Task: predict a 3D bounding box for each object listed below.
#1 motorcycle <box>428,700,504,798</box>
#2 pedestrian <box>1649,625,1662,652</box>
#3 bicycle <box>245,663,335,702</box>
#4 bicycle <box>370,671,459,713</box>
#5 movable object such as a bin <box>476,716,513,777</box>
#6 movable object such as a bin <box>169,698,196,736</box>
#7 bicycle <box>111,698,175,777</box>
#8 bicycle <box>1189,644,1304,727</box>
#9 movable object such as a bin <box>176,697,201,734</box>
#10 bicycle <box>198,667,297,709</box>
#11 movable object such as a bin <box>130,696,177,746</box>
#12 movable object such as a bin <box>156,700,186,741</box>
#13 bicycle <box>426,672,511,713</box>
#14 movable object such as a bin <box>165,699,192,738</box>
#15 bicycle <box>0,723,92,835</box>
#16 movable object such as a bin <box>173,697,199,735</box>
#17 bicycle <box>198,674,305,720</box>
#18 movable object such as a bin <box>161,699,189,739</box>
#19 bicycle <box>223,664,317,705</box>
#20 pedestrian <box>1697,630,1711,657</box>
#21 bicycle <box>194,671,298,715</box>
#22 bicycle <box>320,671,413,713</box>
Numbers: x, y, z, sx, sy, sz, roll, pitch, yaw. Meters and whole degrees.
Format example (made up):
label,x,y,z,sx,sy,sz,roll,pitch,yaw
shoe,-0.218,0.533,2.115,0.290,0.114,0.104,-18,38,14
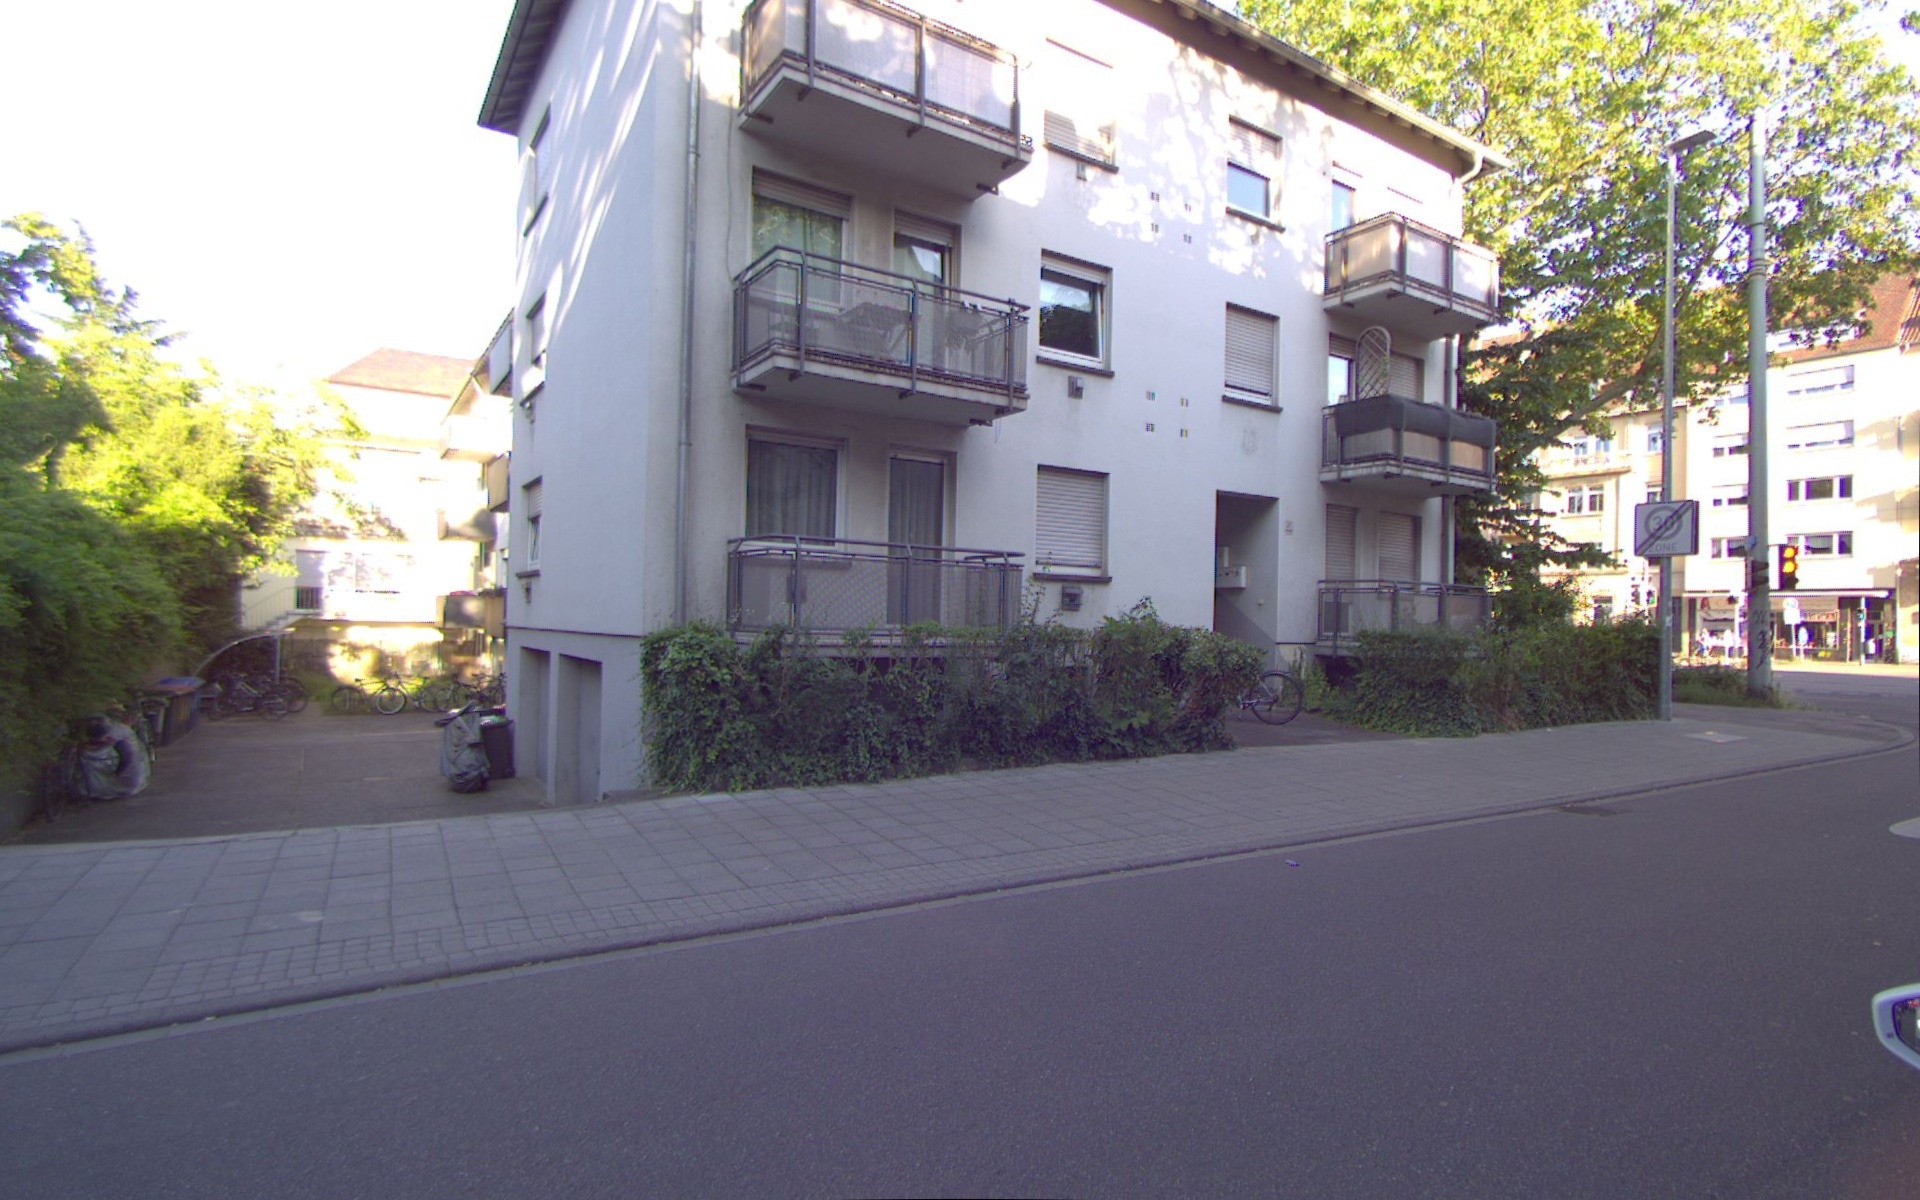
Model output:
label,x,y,z,sx,sy,sz,roll,pitch,yaw
motorcycle,-7.405,2.185,15.020,0.751,1.268,1.577,1,-2,-36
pedestrian,40.502,2.243,58.526,0.558,1.531,0.499,0,-1,41
bicycle,-19.019,2.346,28.566,2.045,1.034,0.564,4,0,-30
bicycle,-14.743,2.501,27.174,2.045,1.034,0.637,4,0,-30
movable object such as a bin,-7.502,2.348,16.184,0.428,0.899,0.720,1,-2,-34
movable object such as a bin,-16.210,2.442,20.946,0.362,0.768,0.361,2,-4,-30
bicycle,-13.223,2.189,16.294,0.509,1.033,1.922,3,-1,-32
bicycle,3.882,1.143,13.615,1.433,0.988,0.407,3,0,21
movable object such as a bin,-16.608,2.486,21.629,0.342,0.768,0.361,2,-4,-30
bicycle,-18.861,2.342,26.656,2.045,1.034,0.611,4,0,-30
movable object such as a bin,-14.951,2.231,18.623,0.570,0.891,0.491,2,-4,-30
movable object such as a bin,-15.631,2.379,19.895,0.393,0.784,0.361,2,-4,-30
bicycle,-13.605,2.576,27.841,2.045,1.034,0.637,4,0,-30
movable object such as a bin,-16.032,2.424,20.611,0.371,0.768,0.361,2,-4,-30
bicycle,-10.996,2.095,12.069,0.509,1.033,1.922,3,-1,-32
movable object such as a bin,-16.404,2.456,21.286,0.362,0.768,0.361,2,-4,-30
bicycle,-17.277,2.380,24.551,2.045,1.034,0.637,4,0,-30
movable object such as a bin,-15.825,2.398,20.255,0.377,0.784,0.361,2,-4,-30
bicycle,-18.996,2.343,27.693,2.045,1.034,0.611,4,0,-30
pedestrian,42.519,2.473,57.412,0.531,1.531,0.505,1,-1,-34
bicycle,-18.029,2.362,25.430,2.045,1.034,0.568,4,0,-30
bicycle,-15.694,2.438,26.614,2.045,1.034,0.637,4,0,-30
